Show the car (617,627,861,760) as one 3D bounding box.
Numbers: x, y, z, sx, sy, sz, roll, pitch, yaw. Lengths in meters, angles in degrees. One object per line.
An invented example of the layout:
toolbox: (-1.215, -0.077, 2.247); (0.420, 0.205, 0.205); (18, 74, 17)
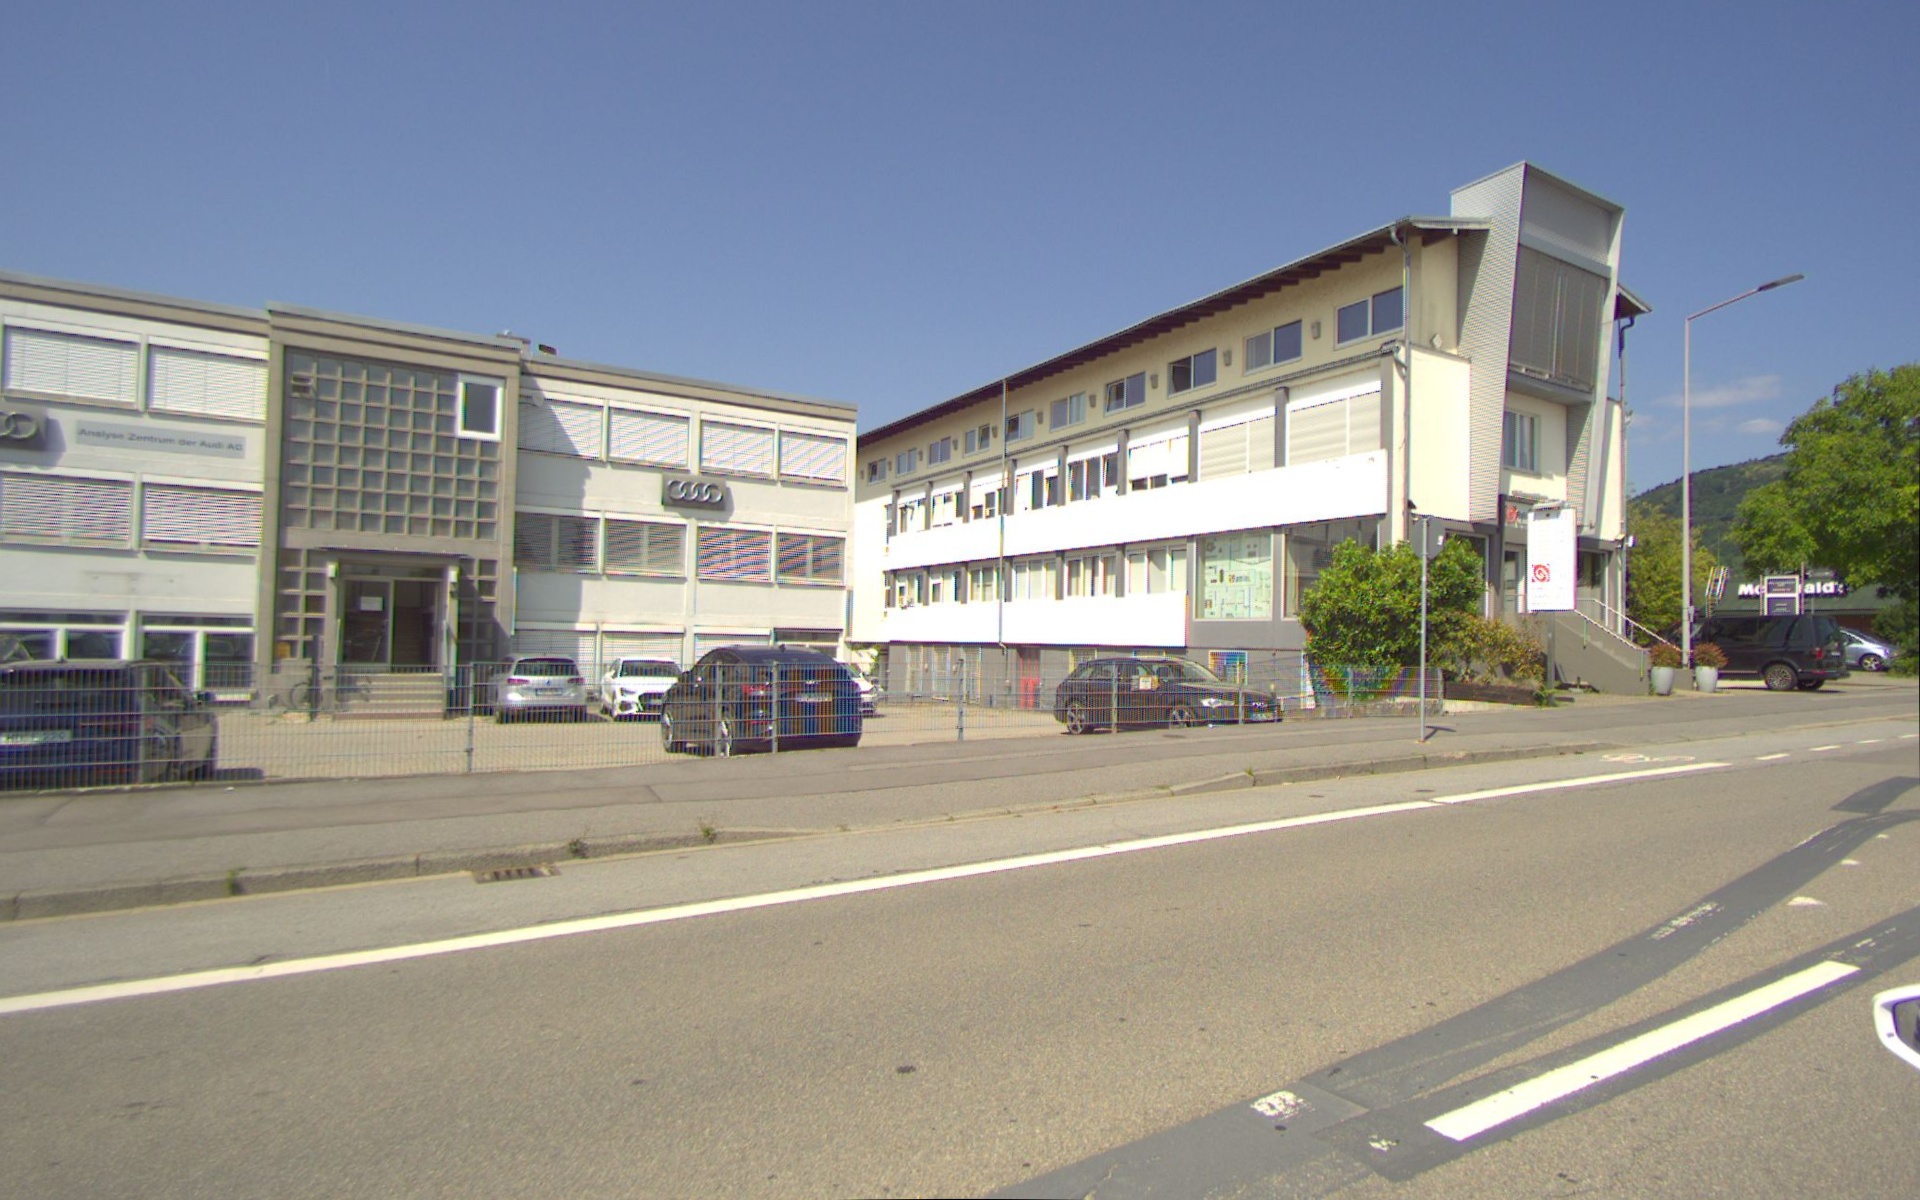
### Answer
car: (-3.289, 1.187, 14.298); (1.975, 1.579, 4.270); (1, -2, -34)

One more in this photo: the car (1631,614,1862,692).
car: (21.120, 1.359, 27.160); (2.072, 1.890, 4.536); (1, -1, -35)

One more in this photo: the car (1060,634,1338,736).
car: (3.979, 1.359, 17.592); (2.025, 1.500, 4.715); (1, -2, -31)

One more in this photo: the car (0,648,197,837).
car: (-9.116, 1.303, 10.209); (1.840, 1.509, 3.963); (4, -4, -34)

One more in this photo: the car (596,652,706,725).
car: (-7.328, 2.030, 23.601); (1.793, 1.421, 3.973); (3, -2, -27)

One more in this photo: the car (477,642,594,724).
car: (-9.599, 1.795, 22.549); (1.838, 1.566, 3.966); (2, -2, -31)

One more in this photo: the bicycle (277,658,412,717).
bicycle: (-13.911, 1.948, 22.765); (2.549, 1.194, 0.920); (1, -1, -33)

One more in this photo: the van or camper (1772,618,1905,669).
van or camper: (32.791, 1.593, 37.575); (1.613, 1.687, 3.377); (1, 1, -28)

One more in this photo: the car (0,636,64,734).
car: (-17.980, 1.479, 18.265); (1.839, 1.573, 4.329); (1, -1, -33)

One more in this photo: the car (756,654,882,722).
car: (-3.760, 2.219, 26.256); (1.838, 1.480, 3.966); (1, -1, -31)
